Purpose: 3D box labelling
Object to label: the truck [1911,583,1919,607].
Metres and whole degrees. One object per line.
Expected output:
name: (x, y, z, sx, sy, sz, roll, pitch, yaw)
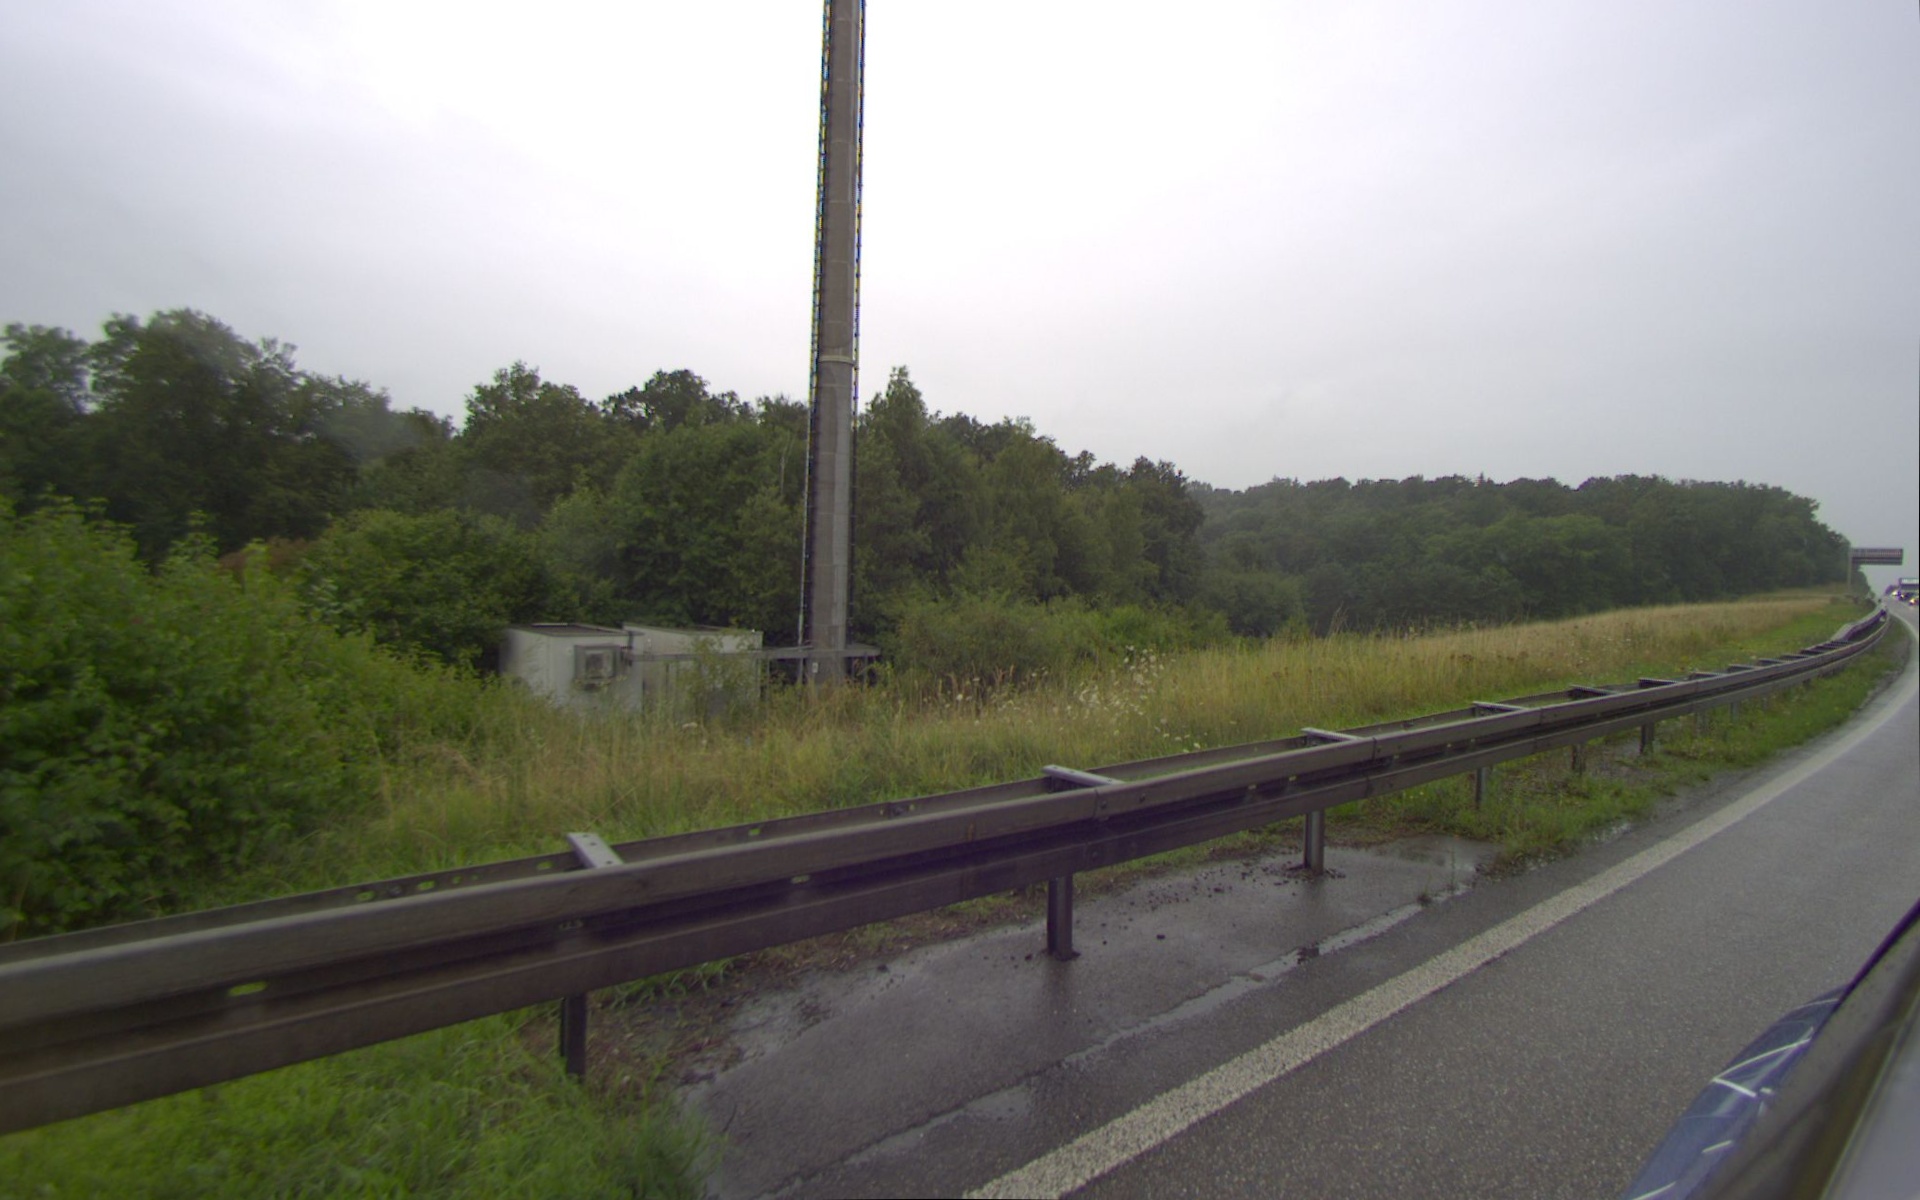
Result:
truck: (168.474, -0.873, 177.192, 5.142, 4.197, 2.593, 1, -1, -43)
